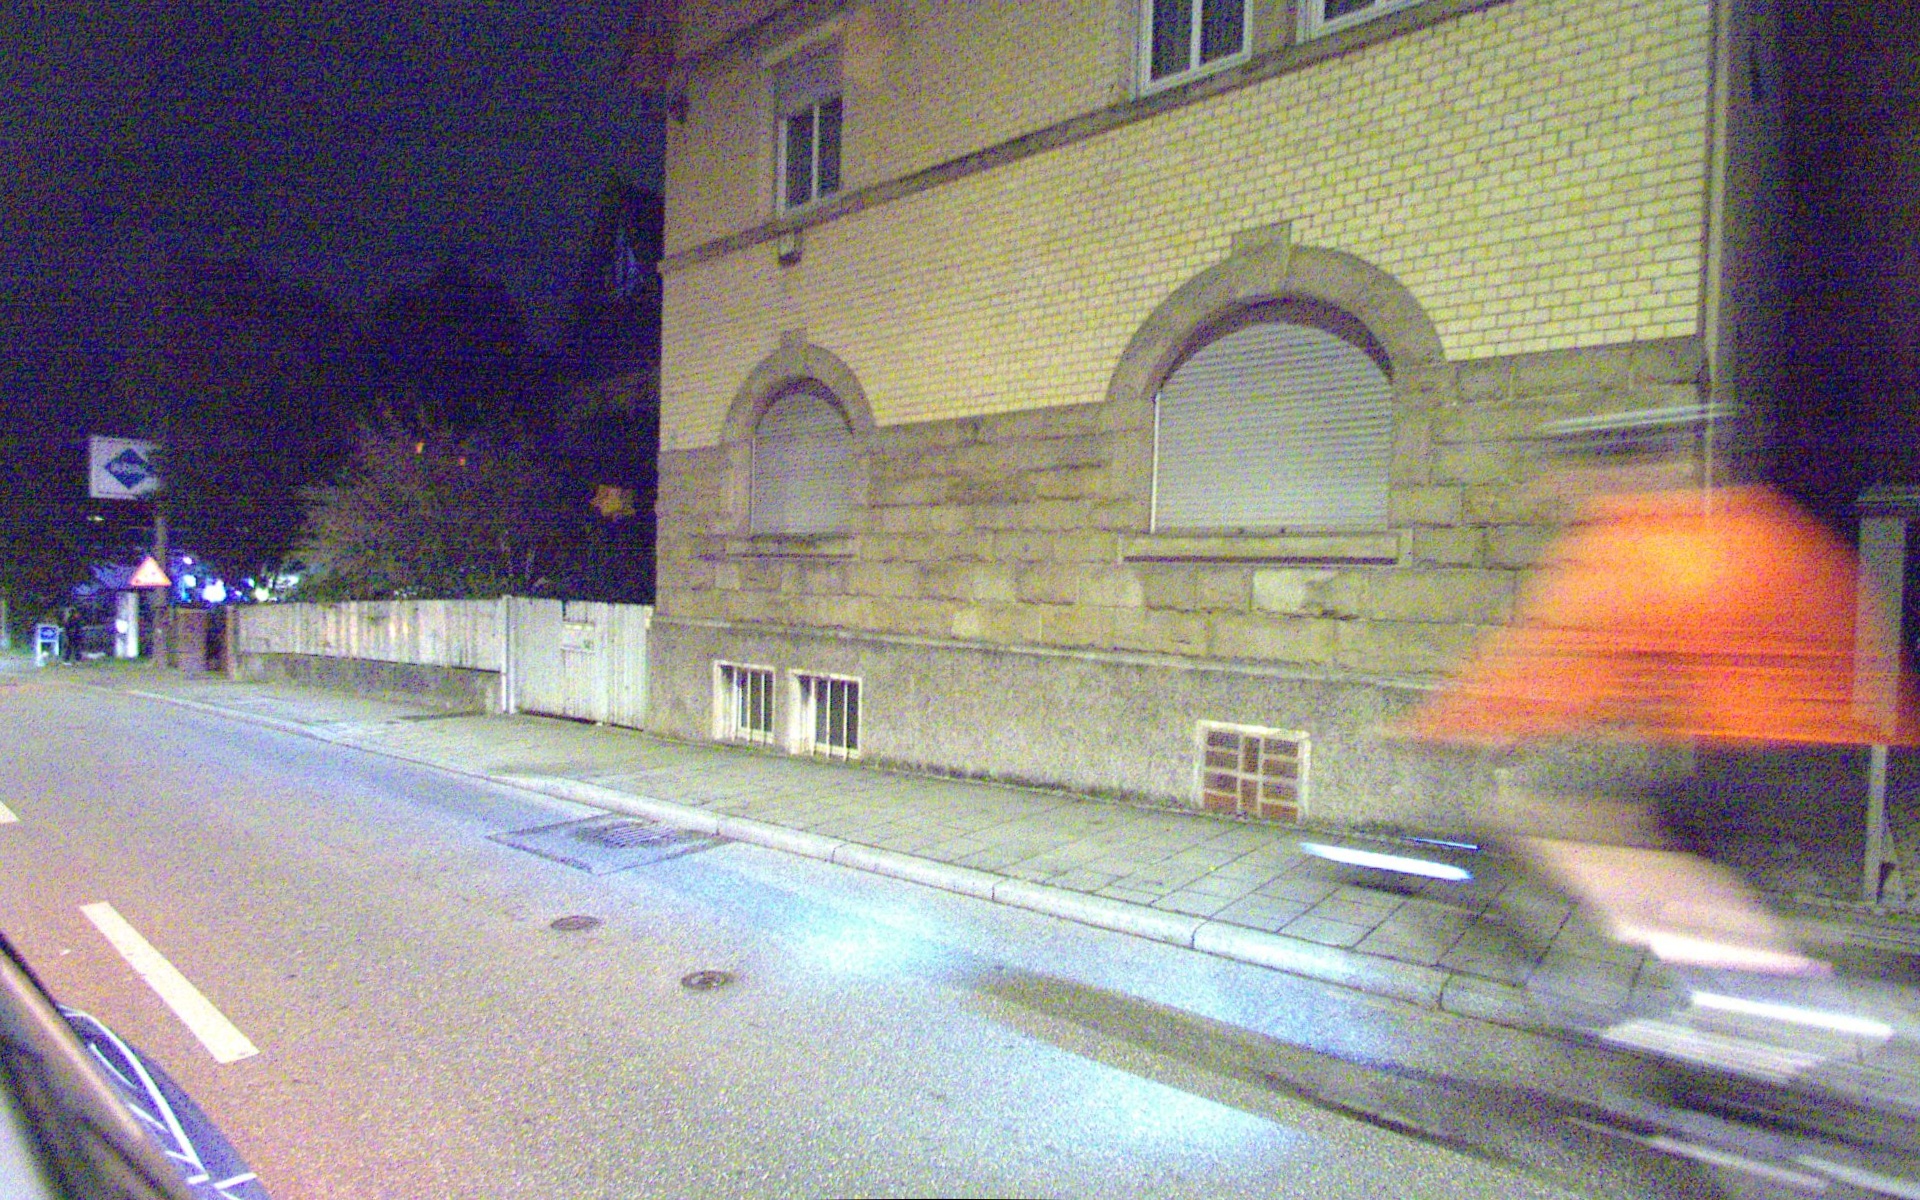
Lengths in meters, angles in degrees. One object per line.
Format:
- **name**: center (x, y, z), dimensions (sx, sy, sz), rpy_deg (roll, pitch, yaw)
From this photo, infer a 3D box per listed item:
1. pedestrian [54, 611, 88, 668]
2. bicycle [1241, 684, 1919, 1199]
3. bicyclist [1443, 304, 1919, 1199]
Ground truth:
- **pedestrian**: center (-27.732, 1.218, 31.578), dimensions (0.865, 1.739, 0.662), rpy_deg (-1, -1, 38)
- **bicycle**: center (1.698, 0.837, 2.279), dimensions (1.950, 1.157, 0.689), rpy_deg (-1, 0, 41)
- **bicyclist**: center (1.684, 0.295, 2.303), dimensions (0.896, 1.649, 0.683), rpy_deg (-1, 0, 41)
